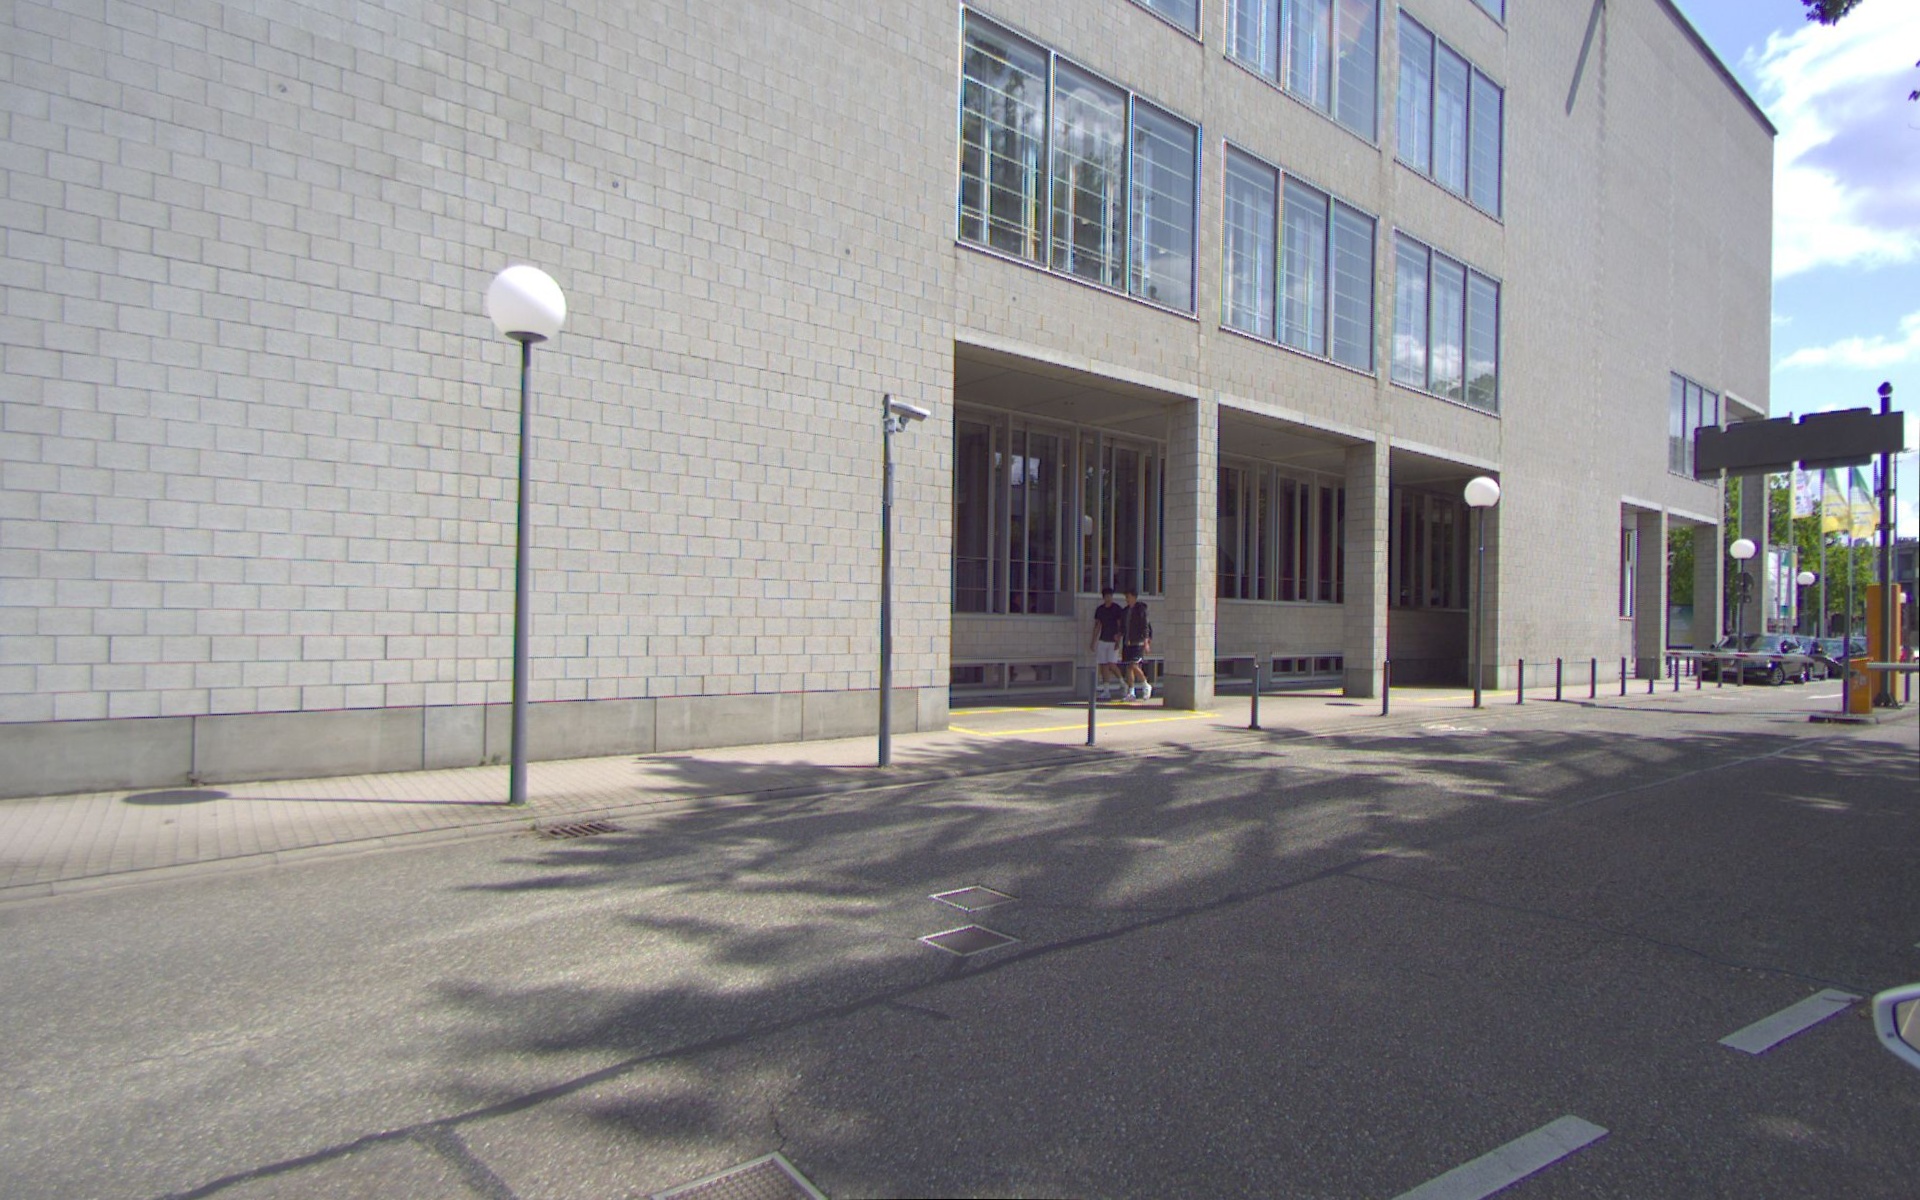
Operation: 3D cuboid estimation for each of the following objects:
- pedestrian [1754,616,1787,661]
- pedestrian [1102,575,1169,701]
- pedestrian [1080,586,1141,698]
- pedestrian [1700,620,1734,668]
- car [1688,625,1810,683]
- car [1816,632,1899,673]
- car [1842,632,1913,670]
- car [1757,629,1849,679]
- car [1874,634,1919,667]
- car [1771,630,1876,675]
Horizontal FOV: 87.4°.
[{"bbox_3d":[38.099,1.804,47.225,0.783,2.054,0.904,1,0,-9],"label":"pedestrian"},{"bbox_3d":[2.937,0.618,16.837,0.823,2.040,0.693,1,0,-38],"label":"pedestrian"},{"bbox_3d":[2.630,0.718,17.549,0.713,1.905,0.725,1,0,-38],"label":"pedestrian"},{"bbox_3d":[33.296,1.925,44.171,1.156,2.040,0.975,2,-1,-43],"label":"pedestrian"},{"bbox_3d":[23.491,1.570,29.840,4.679,1.487,1.844,2,1,-39],"label":"car"},{"bbox_3d":[36.817,2.113,41.182,4.158,1.487,1.735,2,1,-37],"label":"car"},{"bbox_3d":[40.522,2.226,44.347,3.876,1.487,1.663,2,1,-38],"label":"car"},{"bbox_3d":[27.833,1.751,33.123,3.675,1.487,1.625,2,1,-39],"label":"car"},{"bbox_3d":[44.644,2.353,47.248,4.621,1.414,1.663,2,1,-38],"label":"car"},{"bbox_3d":[31.117,1.871,36.152,4.970,1.396,1.845,2,1,-37],"label":"car"}]
